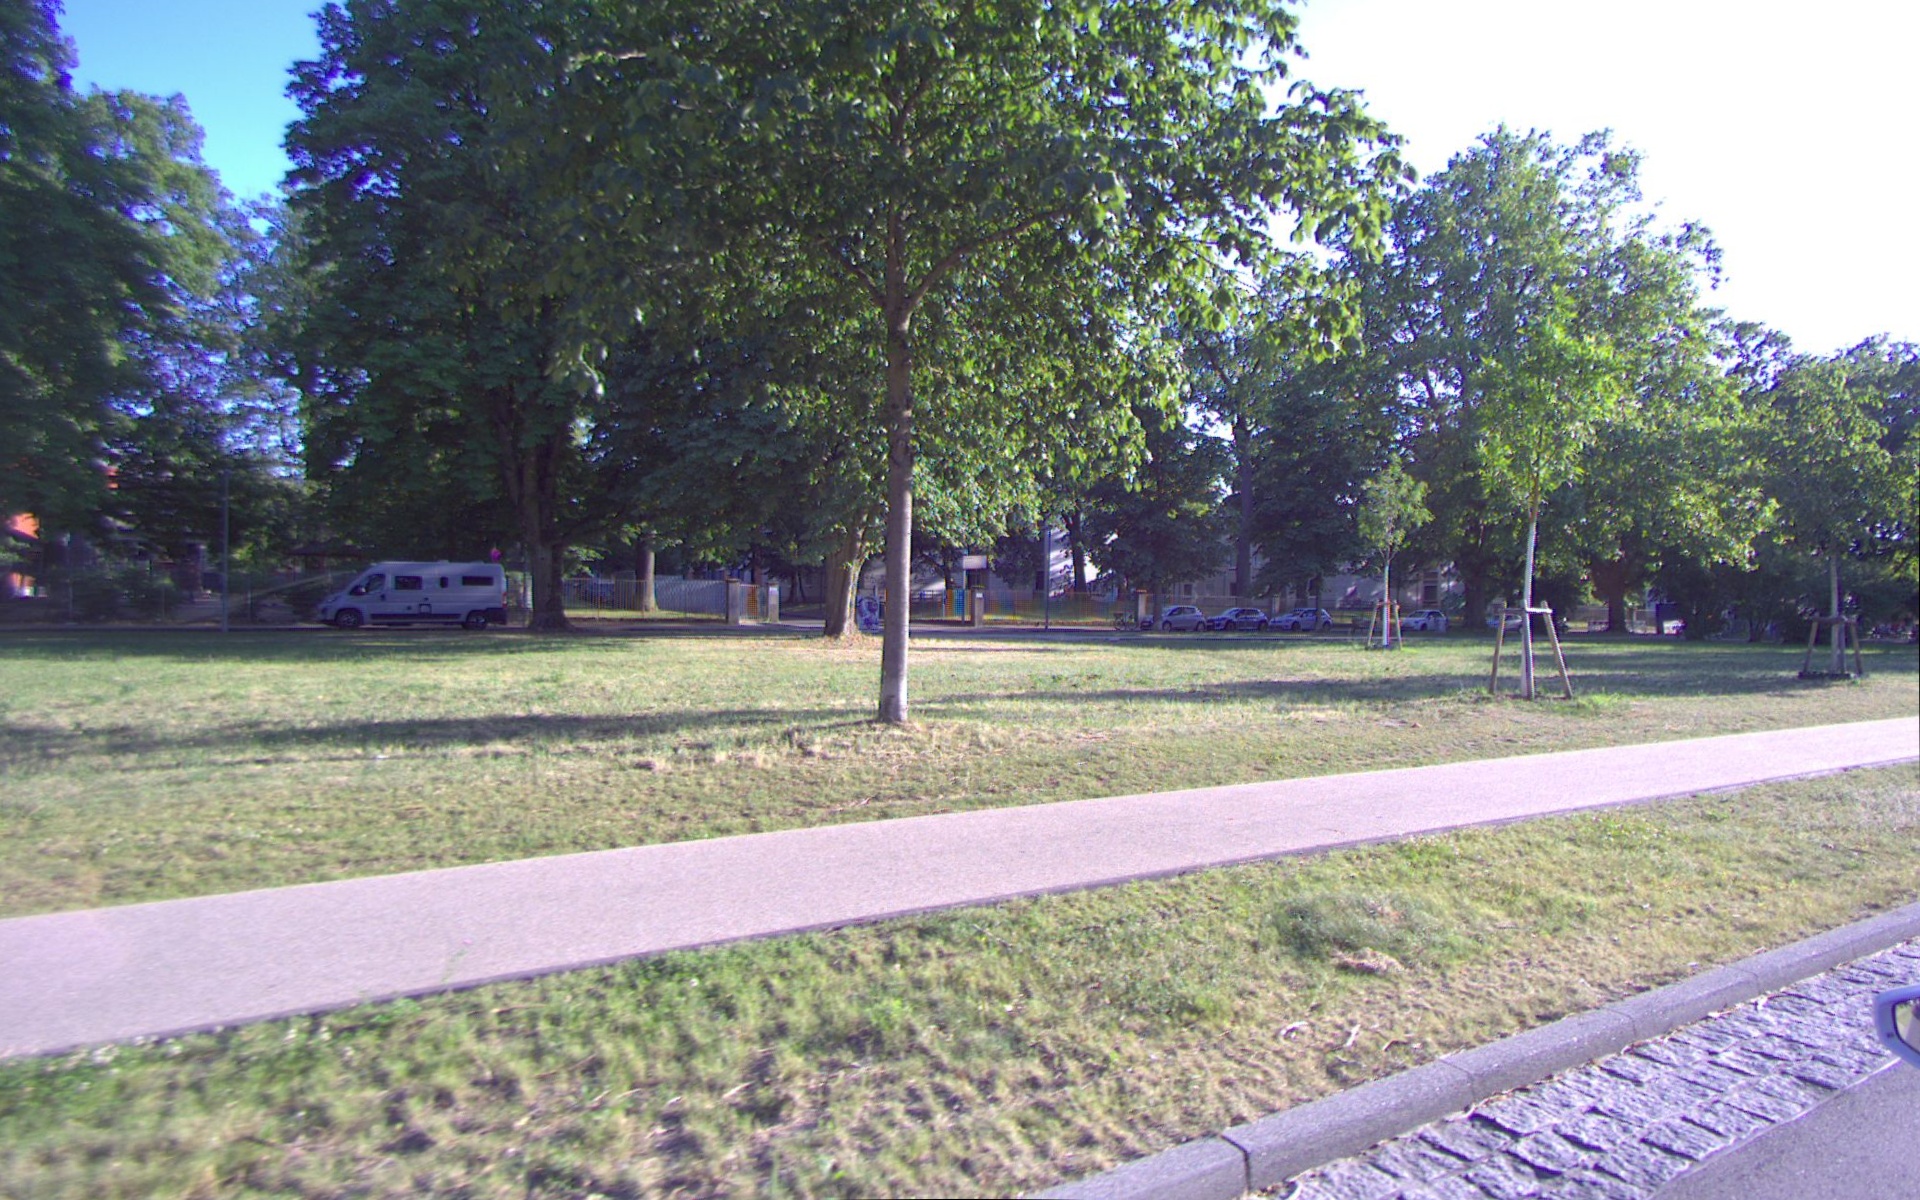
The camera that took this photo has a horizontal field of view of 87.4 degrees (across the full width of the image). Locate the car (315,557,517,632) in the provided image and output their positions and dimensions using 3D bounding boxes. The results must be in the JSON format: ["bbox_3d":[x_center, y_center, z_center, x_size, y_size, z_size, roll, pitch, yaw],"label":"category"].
[{"bbox_3d":[-19.743,-0.138,36.631,6.248,2.496,2.706,2,-1,-32],"label":"car"}]

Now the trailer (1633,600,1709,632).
[{"bbox_3d":[58.891,1.305,83.200,6.965,2.522,2.448,1,-1,-30],"label":"trailer"}]

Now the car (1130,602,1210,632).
[{"bbox_3d":[11.534,0.943,55.164,3.952,1.528,1.984,1,-1,-30],"label":"car"}]

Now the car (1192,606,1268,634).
[{"bbox_3d":[15.476,1.151,57.623,3.952,1.528,1.984,1,-1,-30],"label":"car"}]

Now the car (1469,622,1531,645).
[{"bbox_3d":[38.079,2.351,70.848,4.066,1.528,1.984,1,-1,-30],"label":"car"}]

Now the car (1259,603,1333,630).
[{"bbox_3d":[20.120,1.003,60.108,4.066,1.528,1.984,1,-1,-30],"label":"car"}]

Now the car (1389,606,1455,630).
[{"bbox_3d":[30.451,1.195,66.148,4.066,1.528,1.984,1,-1,-30],"label":"car"}]

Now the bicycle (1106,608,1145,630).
[{"bbox_3d":[9.183,1.068,55.750,2.309,1.191,0.653,2,-1,-33],"label":"bicycle"}]

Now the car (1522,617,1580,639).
[{"bbox_3d":[43.692,2.086,74.255,4.066,1.528,1.984,1,-1,-30],"label":"car"}]
